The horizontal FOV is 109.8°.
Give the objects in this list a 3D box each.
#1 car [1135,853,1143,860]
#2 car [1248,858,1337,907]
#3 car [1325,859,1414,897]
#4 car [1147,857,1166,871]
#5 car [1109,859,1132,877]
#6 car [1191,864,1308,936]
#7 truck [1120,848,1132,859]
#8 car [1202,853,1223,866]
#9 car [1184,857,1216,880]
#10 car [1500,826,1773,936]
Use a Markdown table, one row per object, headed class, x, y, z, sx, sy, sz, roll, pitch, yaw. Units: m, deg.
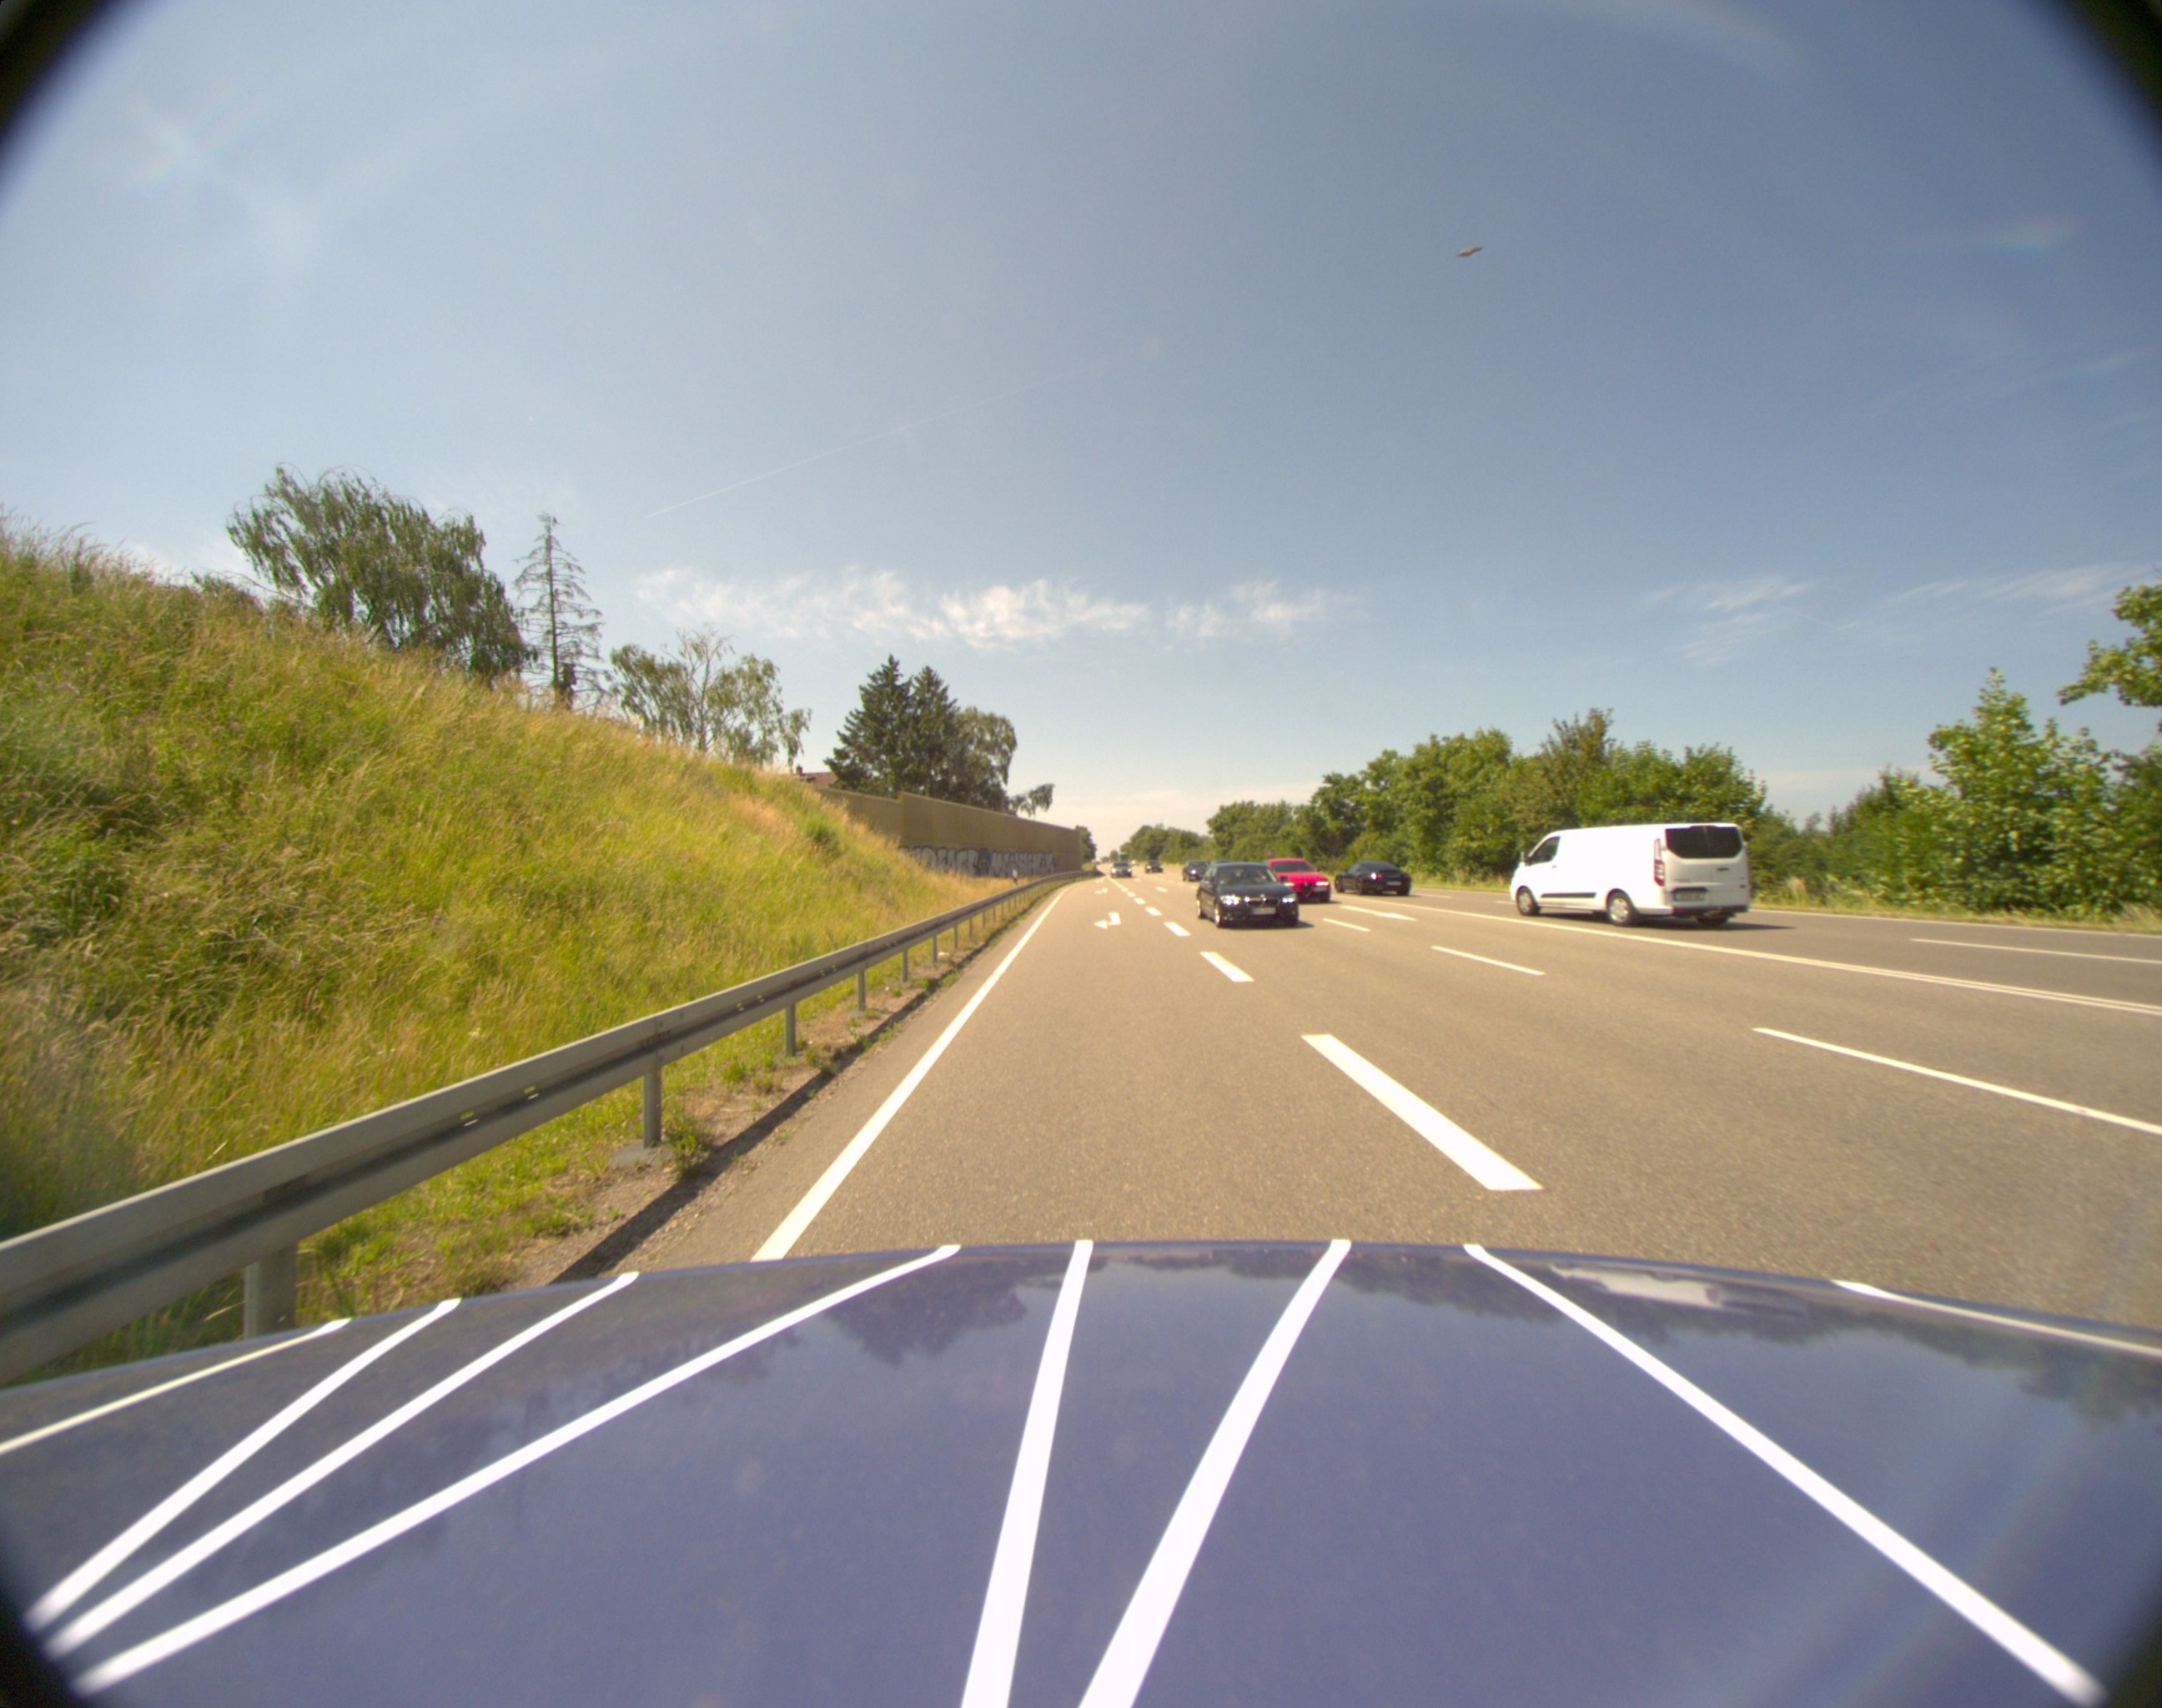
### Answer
| class | x | y | z | sx | sy | sz | roll | pitch | yaw |
| --- | --- | --- | --- | --- | --- | --- | --- | --- | --- |
| car | 14.751 | 0.607 | 192.382 | 1.747 | 1.808 | 3.999 | -2 | 1 | 0 |
| car | 6.997 | 0.900 | 25.638 | 1.753 | 1.413 | 4.566 | -2 | -1 | 1 |
| car | 11.151 | 0.870 | 29.762 | 1.555 | 1.326 | 4.854 | -1 | 0 | -1 |
| car | 8.488 | 1.059 | 85.785 | 1.893 | 1.439 | 4.527 | -2 | 0 | 3 |
| car | 3.551 | 1.223 | 67.691 | 1.893 | 1.439 | 4.527 | -2 | 0 | 4 |
| car | 3.819 | 0.987 | 17.963 | 1.788 | 1.422 | 4.381 | -2 | -1 | 1 |
| truck | 14.781 | -0.165 | 249.411 | 3.360 | 3.380 | 7.982 | -2 | 1 | 1 |
| car | 15.919 | 0.671 | 92.401 | 1.893 | 1.527 | 4.526 | -2 | 0 | 2 |
| car | 8.047 | 0.981 | 51.746 | 1.678 | 1.403 | 4.468 | -2 | 0 | 4 |
| car | 11.159 | 0.484 | 15.867 | 1.910 | 1.906 | 5.050 | 0 | 0 | -2 |
